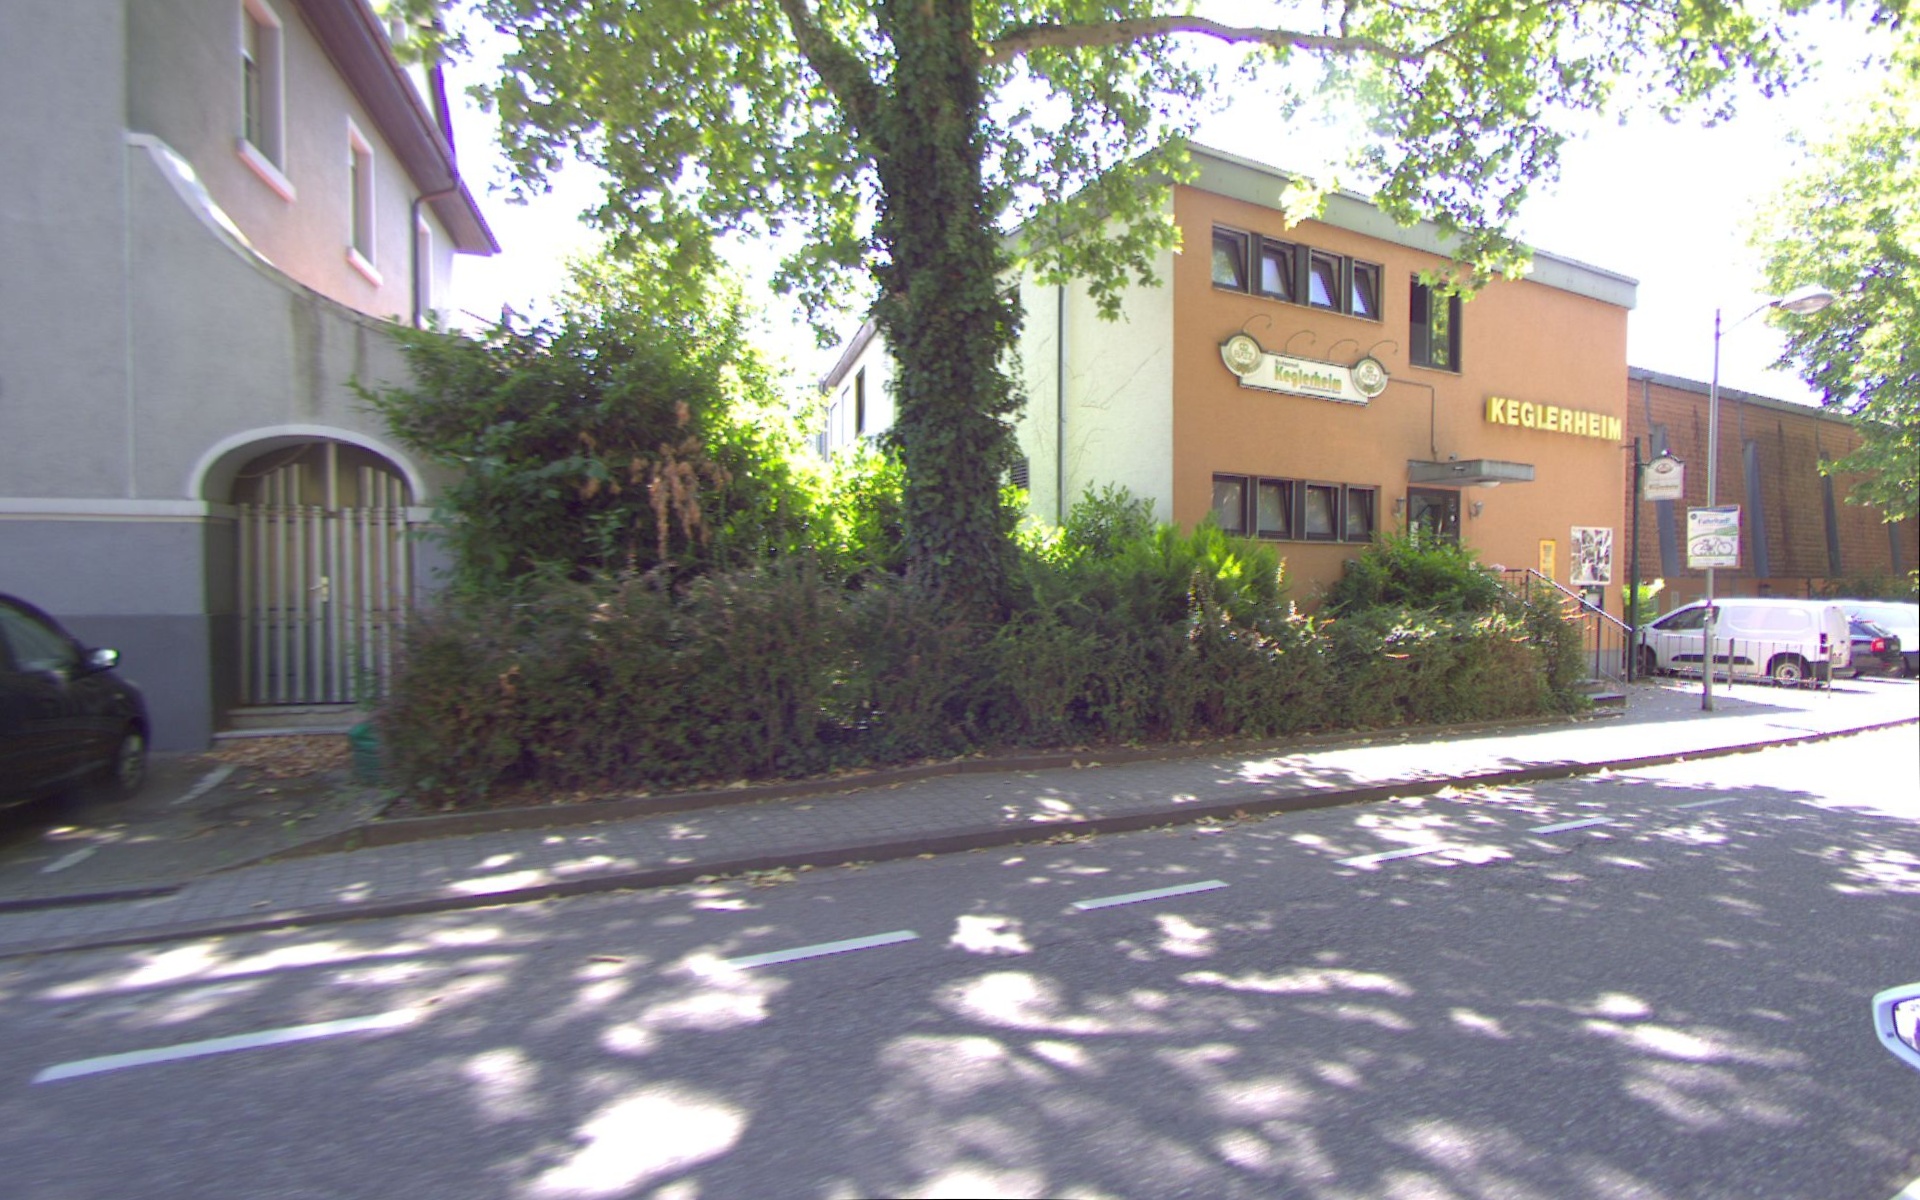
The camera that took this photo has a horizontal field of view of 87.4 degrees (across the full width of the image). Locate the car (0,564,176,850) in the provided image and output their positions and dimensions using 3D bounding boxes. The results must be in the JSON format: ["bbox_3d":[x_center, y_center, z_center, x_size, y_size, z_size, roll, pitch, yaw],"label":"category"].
[{"bbox_3d":[-6.317,0.570,5.923,1.698,1.567,3.376,1,0,-21],"label":"car"}]

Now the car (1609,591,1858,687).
[{"bbox_3d":[17.104,0.789,22.403,1.849,1.817,3.962,1,2,-33],"label":"car"}]

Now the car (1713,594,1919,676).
[{"bbox_3d":[22.839,0.841,26.460,1.883,1.828,4.396,1,2,-33],"label":"car"}]

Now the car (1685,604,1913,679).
[{"bbox_3d":[20.805,0.974,25.058,1.849,1.536,3.962,1,2,-33],"label":"car"}]

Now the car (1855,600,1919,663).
[{"bbox_3d":[29.938,1.023,30.210,1.883,1.828,4.103,1,2,-33],"label":"car"}]
